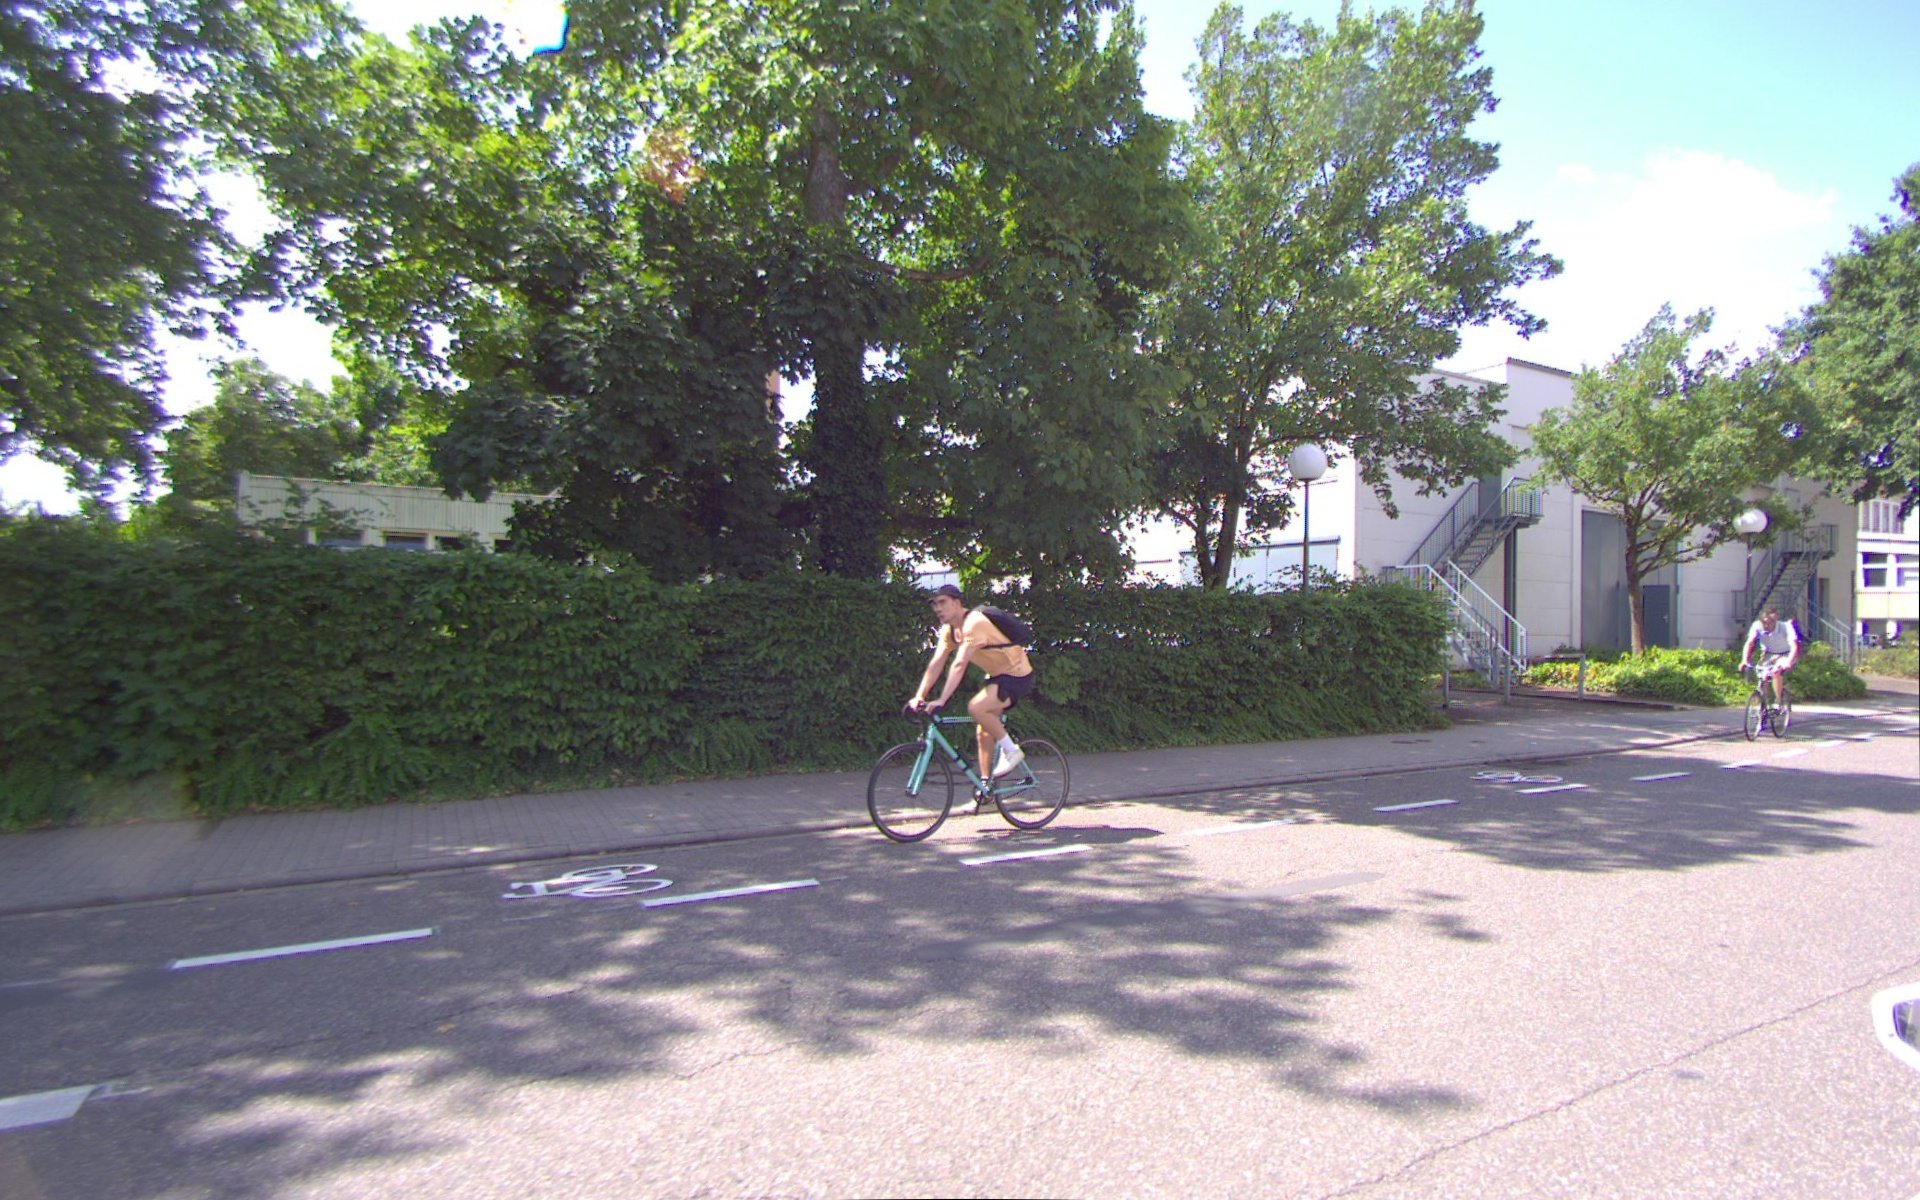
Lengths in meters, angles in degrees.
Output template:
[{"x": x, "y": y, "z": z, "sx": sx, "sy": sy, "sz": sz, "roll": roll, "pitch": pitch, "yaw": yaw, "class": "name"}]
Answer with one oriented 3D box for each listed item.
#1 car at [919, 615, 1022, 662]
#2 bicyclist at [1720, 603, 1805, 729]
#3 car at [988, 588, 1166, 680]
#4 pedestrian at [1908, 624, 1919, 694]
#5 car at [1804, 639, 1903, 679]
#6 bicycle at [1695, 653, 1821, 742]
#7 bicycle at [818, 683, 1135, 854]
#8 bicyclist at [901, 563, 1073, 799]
[{"x": 0.311, "y": 1.399, "z": 38.482, "sx": 1.974, "sy": 1.676, "sz": 4.903, "roll": 0, "pitch": -1, "yaw": -26, "class": "car"}, {"x": 11.615, "y": 0.937, "z": 14.535, "sx": 0.908, "sy": 1.759, "sz": 0.689, "roll": 2, "pitch": -2, "yaw": -30, "class": "bicyclist"}, {"x": 2.739, "y": 0.822, "z": 24.801, "sx": 1.974, "sy": 2.012, "sz": 4.903, "roll": 3, "pitch": -2, "yaw": -27, "class": "car"}, {"x": 22.962, "y": 1.401, "z": 23.666, "sx": 0.873, "sy": 1.648, "sz": 0.709, "roll": 1, "pitch": -1, "yaw": -31, "class": "pedestrian"}, {"x": 36.166, "y": 2.366, "z": 40.654, "sx": 4.249, "sy": 1.486, "sz": 1.820, "roll": 2, "pitch": -1, "yaw": -31, "class": "car"}, {"x": 11.532, "y": 1.376, "z": 14.495, "sx": 2.184, "sy": 1.186, "sz": 0.689, "roll": 2, "pitch": -2, "yaw": -30, "class": "bicycle"}, {"x": 0.156, "y": 1.132, "z": 7.208, "sx": 2.184, "sy": 1.002, "sz": 0.789, "roll": 2, "pitch": -2, "yaw": -30, "class": "bicycle"}, {"x": 0.193, "y": 0.559, "z": 7.242, "sx": 1.006, "sy": 1.568, "sz": 0.689, "roll": 2, "pitch": -2, "yaw": -30, "class": "bicyclist"}]
